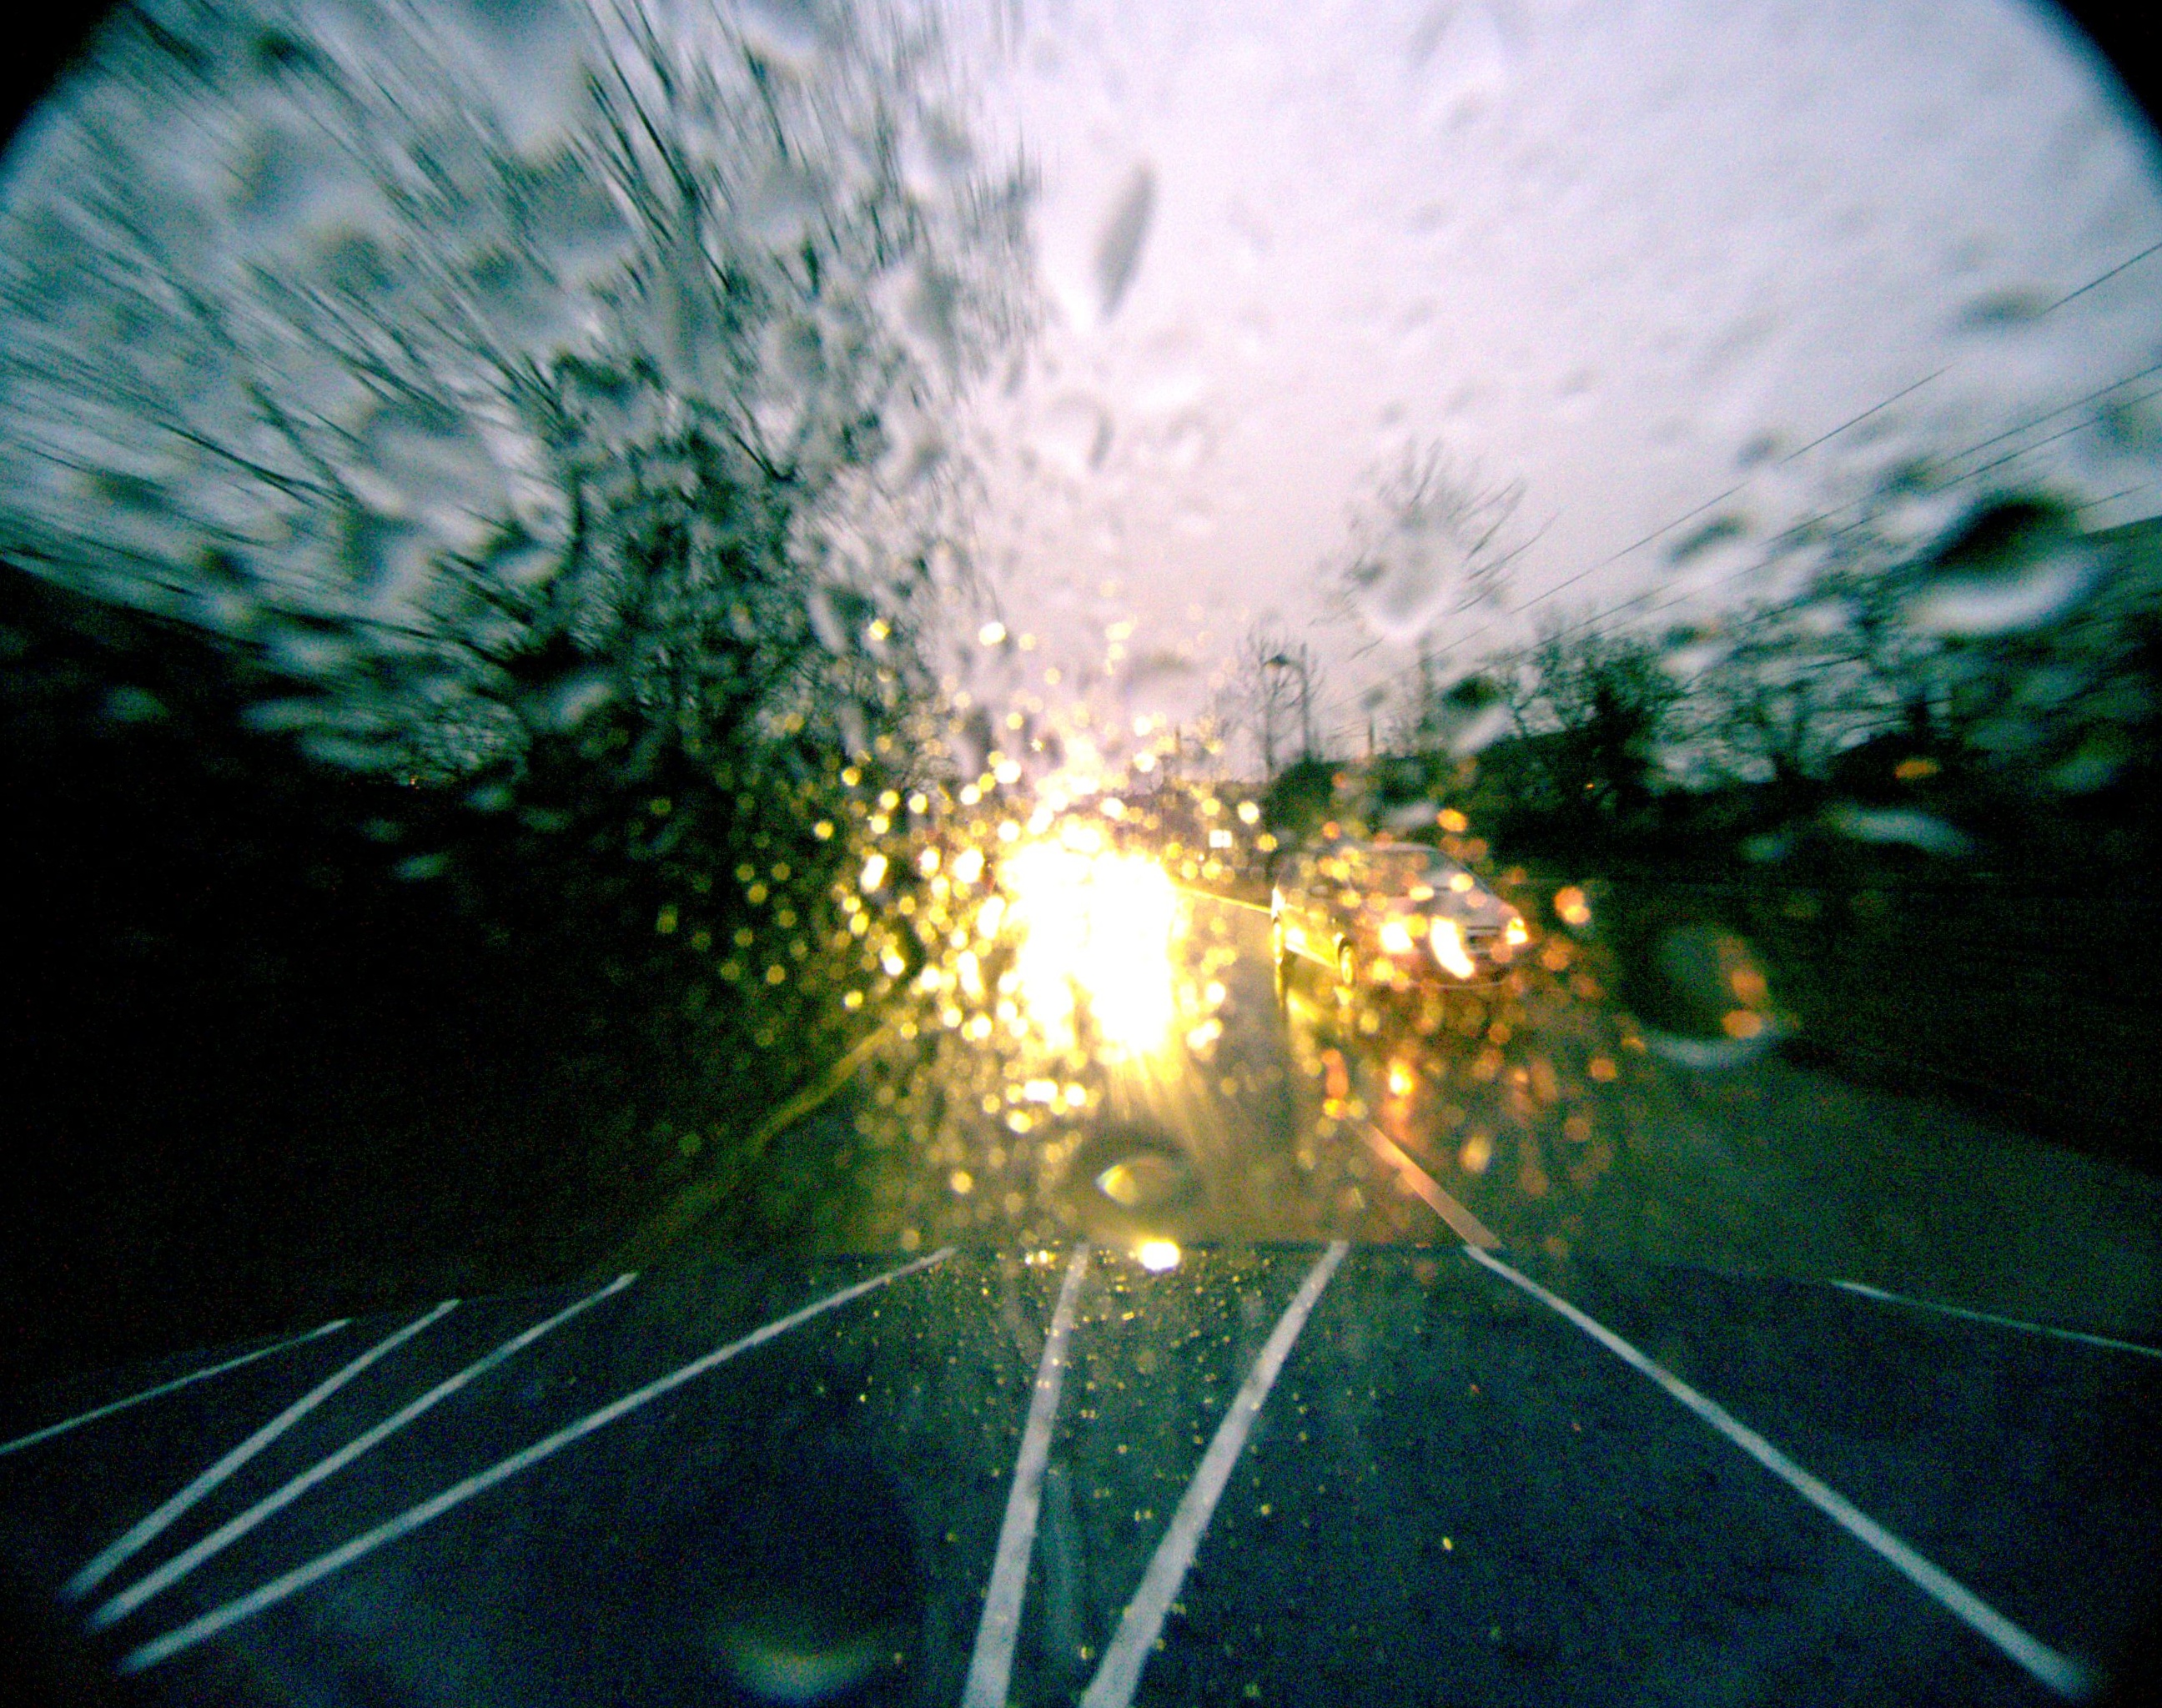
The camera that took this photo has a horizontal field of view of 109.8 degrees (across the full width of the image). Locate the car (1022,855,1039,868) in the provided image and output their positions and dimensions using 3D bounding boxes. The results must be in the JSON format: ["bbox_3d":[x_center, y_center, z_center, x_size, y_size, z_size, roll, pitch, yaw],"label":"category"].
[{"bbox_3d":[-6.730,0.993,101.313,1.950,1.546,4.214,-3,0,-7],"label":"car"}]

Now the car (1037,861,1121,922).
[{"bbox_3d":[-0.124,0.865,19.358,1.897,1.347,4.288,-1,0,-2],"label":"car"}]

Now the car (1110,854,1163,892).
[{"bbox_3d":[2.466,0.805,34.611,1.924,1.546,4.216,-3,0,-2],"label":"car"}]

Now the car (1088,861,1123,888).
[{"bbox_3d":[1.549,1.275,48.738,1.845,1.546,4.216,-3,0,-3],"label":"car"}]

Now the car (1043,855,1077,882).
[{"bbox_3d":[-1.322,0.856,46.553,1.950,1.546,4.216,-3,0,-3],"label":"car"}]

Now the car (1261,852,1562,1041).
[{"bbox_3d":[3.313,0.803,8.515,1.669,1.566,3.923,-3,0,1],"label":"car"}]
